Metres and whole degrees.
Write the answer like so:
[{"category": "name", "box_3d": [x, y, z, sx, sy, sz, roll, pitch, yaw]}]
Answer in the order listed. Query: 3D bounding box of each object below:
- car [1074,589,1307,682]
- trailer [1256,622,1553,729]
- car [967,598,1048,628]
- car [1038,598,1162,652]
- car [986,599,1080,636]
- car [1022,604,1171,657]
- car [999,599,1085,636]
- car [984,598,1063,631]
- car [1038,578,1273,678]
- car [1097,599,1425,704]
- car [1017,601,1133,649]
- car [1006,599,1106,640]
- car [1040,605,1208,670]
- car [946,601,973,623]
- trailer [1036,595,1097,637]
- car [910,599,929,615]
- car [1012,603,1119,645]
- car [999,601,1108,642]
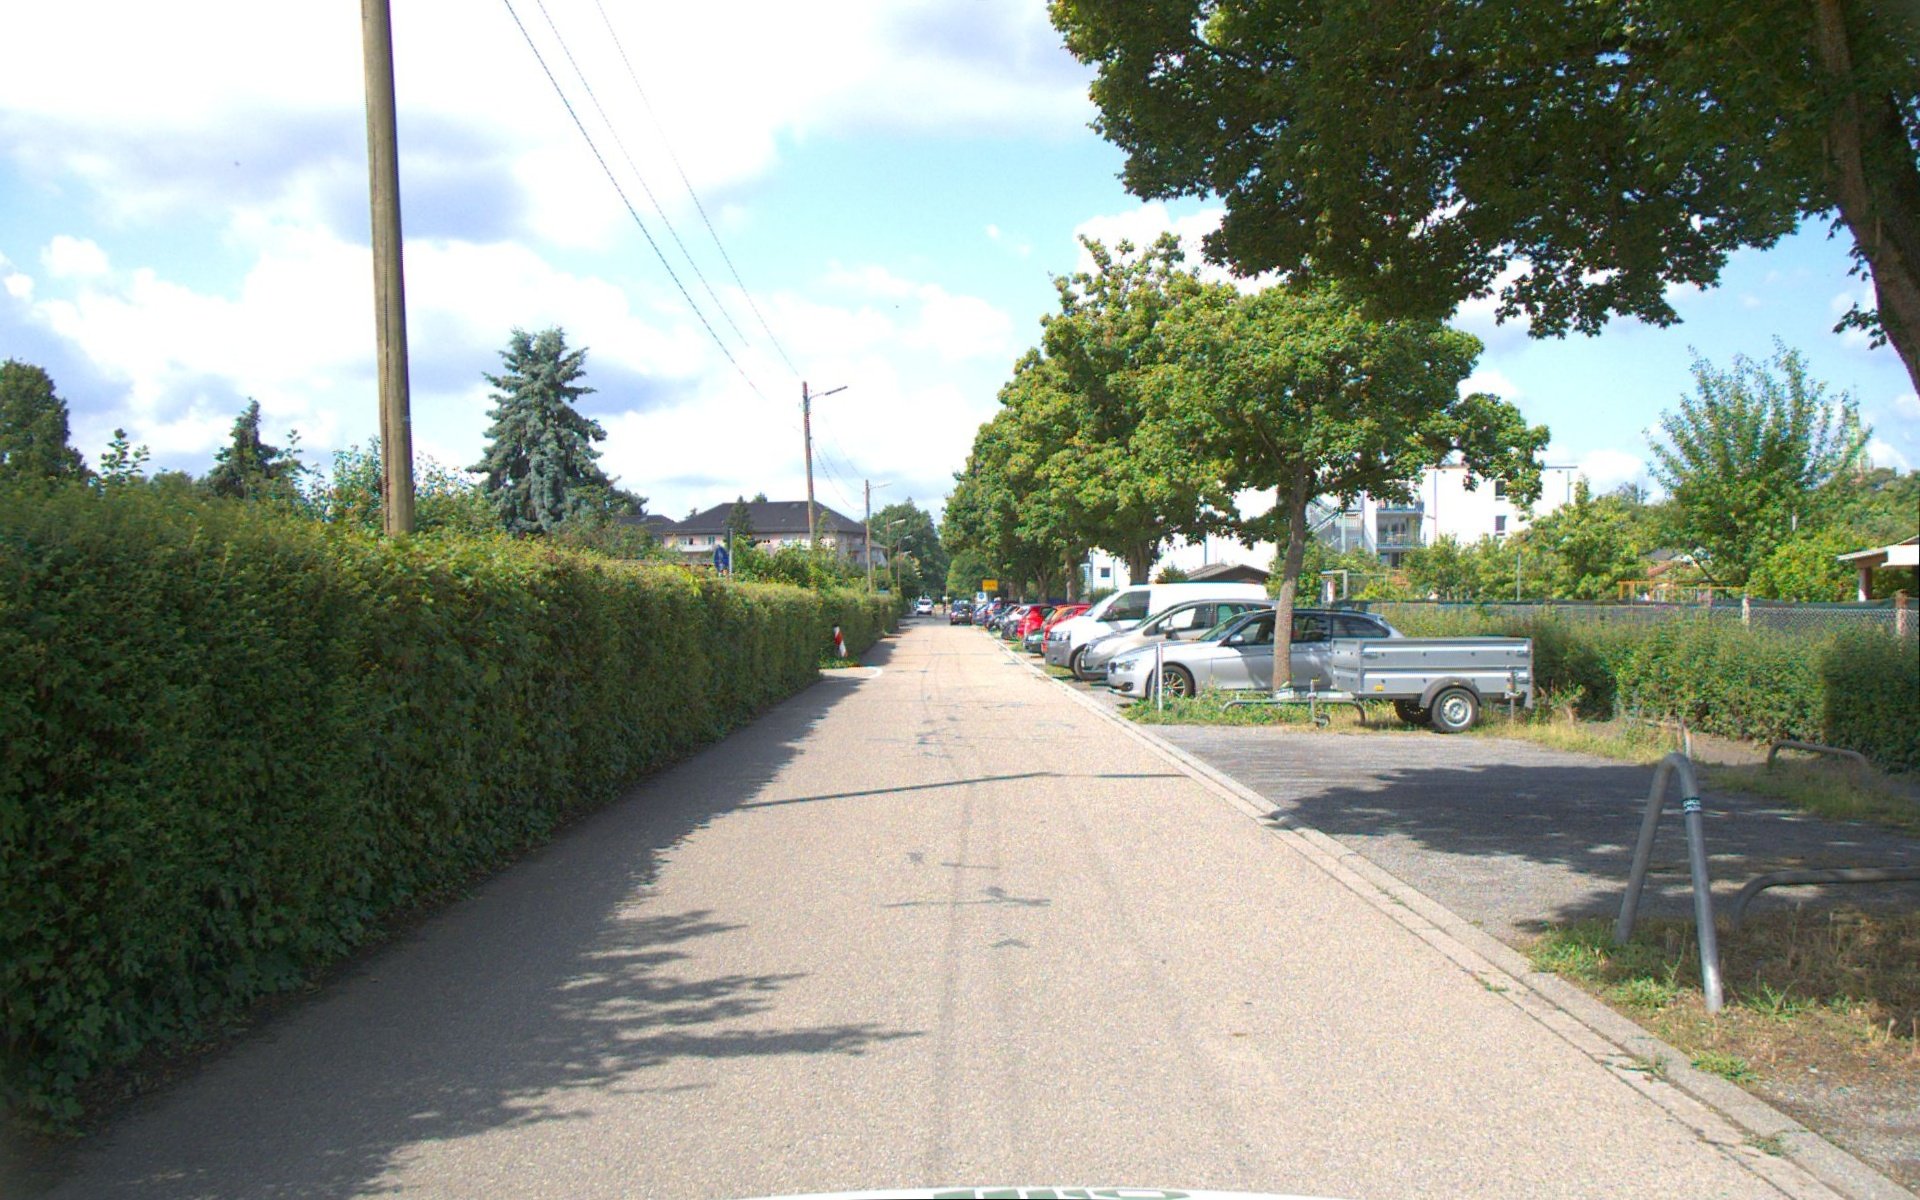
[{"category": "car", "box_3d": [4.339, 0.661, 31.637, 4.157, 1.620, 2.000, -1, 0, -1]}, {"category": "trailer", "box_3d": [5.279, 0.883, 19.962, 3.037, 1.162, 2.000, 1, -1, -1]}, {"category": "car", "box_3d": [2.674, 0.717, 93.937, 4.457, 1.606, 1.808, 1, -1, -2]}, {"category": "car", "box_3d": [4.363, 0.787, 51.977, 3.688, 1.601, 1.869, 1, -1, -2]}, {"category": "car", "box_3d": [3.376, 0.808, 76.714, 4.215, 1.622, 1.999, 1, -1, -2]}, {"category": "car", "box_3d": [4.021, 0.901, 49.246, 4.155, 1.453, 1.906, 1, -1, -5]}, {"category": "car", "box_3d": [3.661, 0.782, 74.136, 3.650, 1.567, 1.848, 1, -1, -4]}, {"category": "car", "box_3d": [3.340, 0.780, 87.307, 4.070, 1.666, 1.878, -1, -1, -1]}, {"category": "car", "box_3d": [3.990, 0.562, 34.375, 4.541, 1.919, 2.110, -1, 0, -3]}, {"category": "car", "box_3d": [4.411, 0.736, 24.681, 4.488, 1.491, 1.998, 0, 0, -4]}, {"category": "car", "box_3d": [3.925, 0.837, 56.770, 3.904, 1.546, 1.855, 1, -1, 2]}, {"category": "car", "box_3d": [3.874, 0.786, 67.058, 3.980, 1.538, 1.958, 1, -1, 2]}, {"category": "car", "box_3d": [4.138, 0.941, 42.138, 4.097, 1.530, 1.878, 1, -1, 0]}, {"category": "car", "box_3d": [-0.003, 0.878, 118.618, 1.628, 1.532, 4.002, 1, -1, 4]}, {"category": "trailer", "box_3d": [4.563, 0.692, 71.265, 2.402, 1.750, 1.517, 1, 0, -5]}, {"category": "car", "box_3d": [-4.603, 0.797, 187.165, 1.863, 1.846, 4.001, 1, -1, 2]}, {"category": "car", "box_3d": [3.821, 0.873, 60.282, 3.829, 1.448, 1.958, 1, -1, 2]}, {"category": "car", "box_3d": [3.574, 0.827, 63.446, 3.984, 1.481, 1.869, 1, -1, -3]}]
